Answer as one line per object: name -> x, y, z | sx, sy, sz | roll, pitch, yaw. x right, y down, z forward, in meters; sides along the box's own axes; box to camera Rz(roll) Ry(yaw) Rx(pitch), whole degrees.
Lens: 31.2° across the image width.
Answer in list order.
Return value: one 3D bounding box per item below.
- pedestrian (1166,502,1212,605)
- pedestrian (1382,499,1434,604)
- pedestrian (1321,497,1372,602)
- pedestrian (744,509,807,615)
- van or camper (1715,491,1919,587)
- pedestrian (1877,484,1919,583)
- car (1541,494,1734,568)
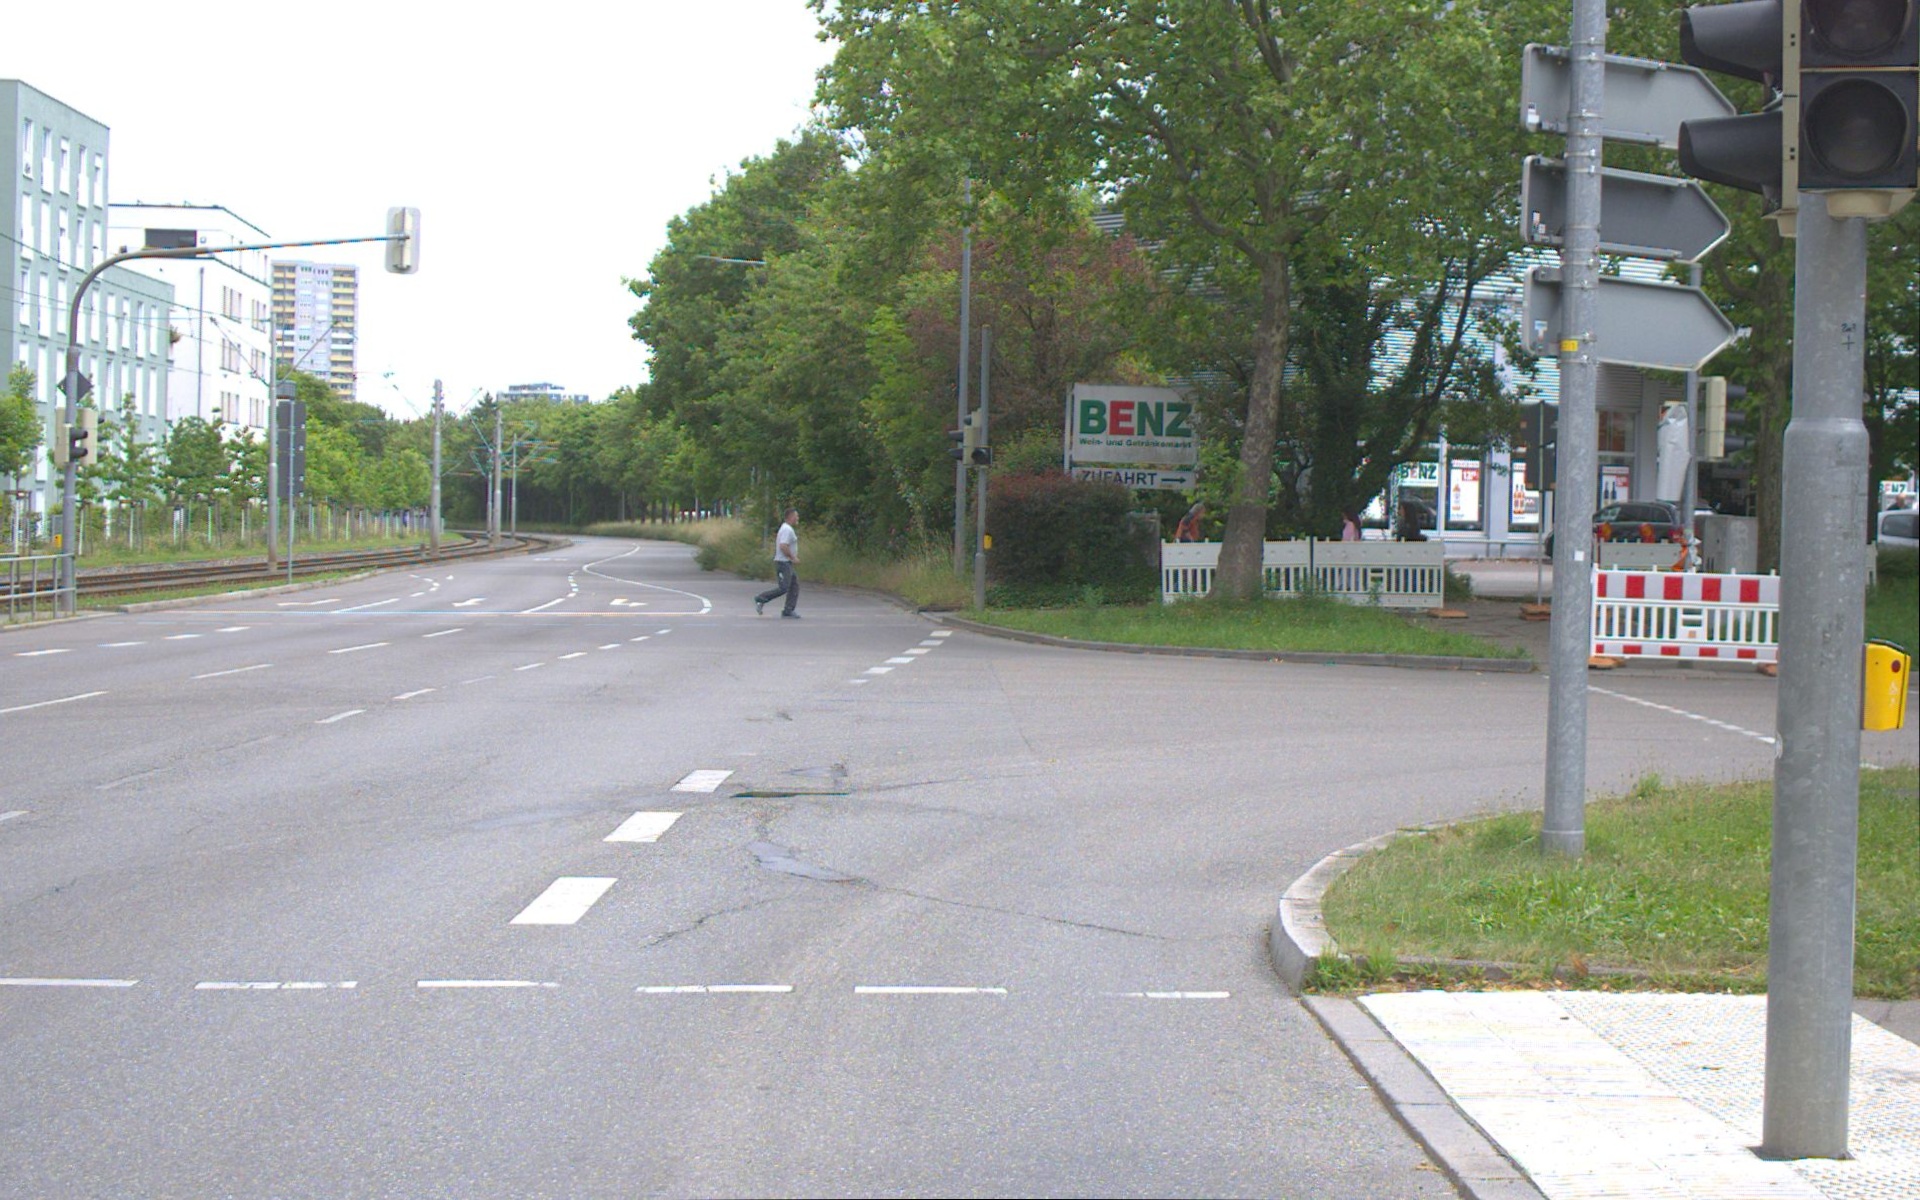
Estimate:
pedestrian -> 3.459, -0.702, 51.873 | 0.653, 1.533, 0.773 | 1, 0, 3
pedestrian -> 6.398, -0.691, 49.078 | 0.697, 1.484, 0.720 | 1, 0, 10
pedestrian -> 5.563, -0.724, 49.475 | 0.697, 1.484, 0.688 | 1, 0, 6
pedestrian -> -2.791, -0.581, 52.211 | 0.848, 1.581, 0.796 | 1, 0, 4
van or camper -> 15.668, -1.117, 61.997 | 1.840, 1.678, 4.001 | -1, 2, -28
pedestrian -> 19.207, -1.345, 69.942 | 0.804, 1.995, 0.853 | 1, 0, -5
car -> 14.242, -1.447, 72.512 | 1.728, 1.495, 4.269 | 1, 1, -27
